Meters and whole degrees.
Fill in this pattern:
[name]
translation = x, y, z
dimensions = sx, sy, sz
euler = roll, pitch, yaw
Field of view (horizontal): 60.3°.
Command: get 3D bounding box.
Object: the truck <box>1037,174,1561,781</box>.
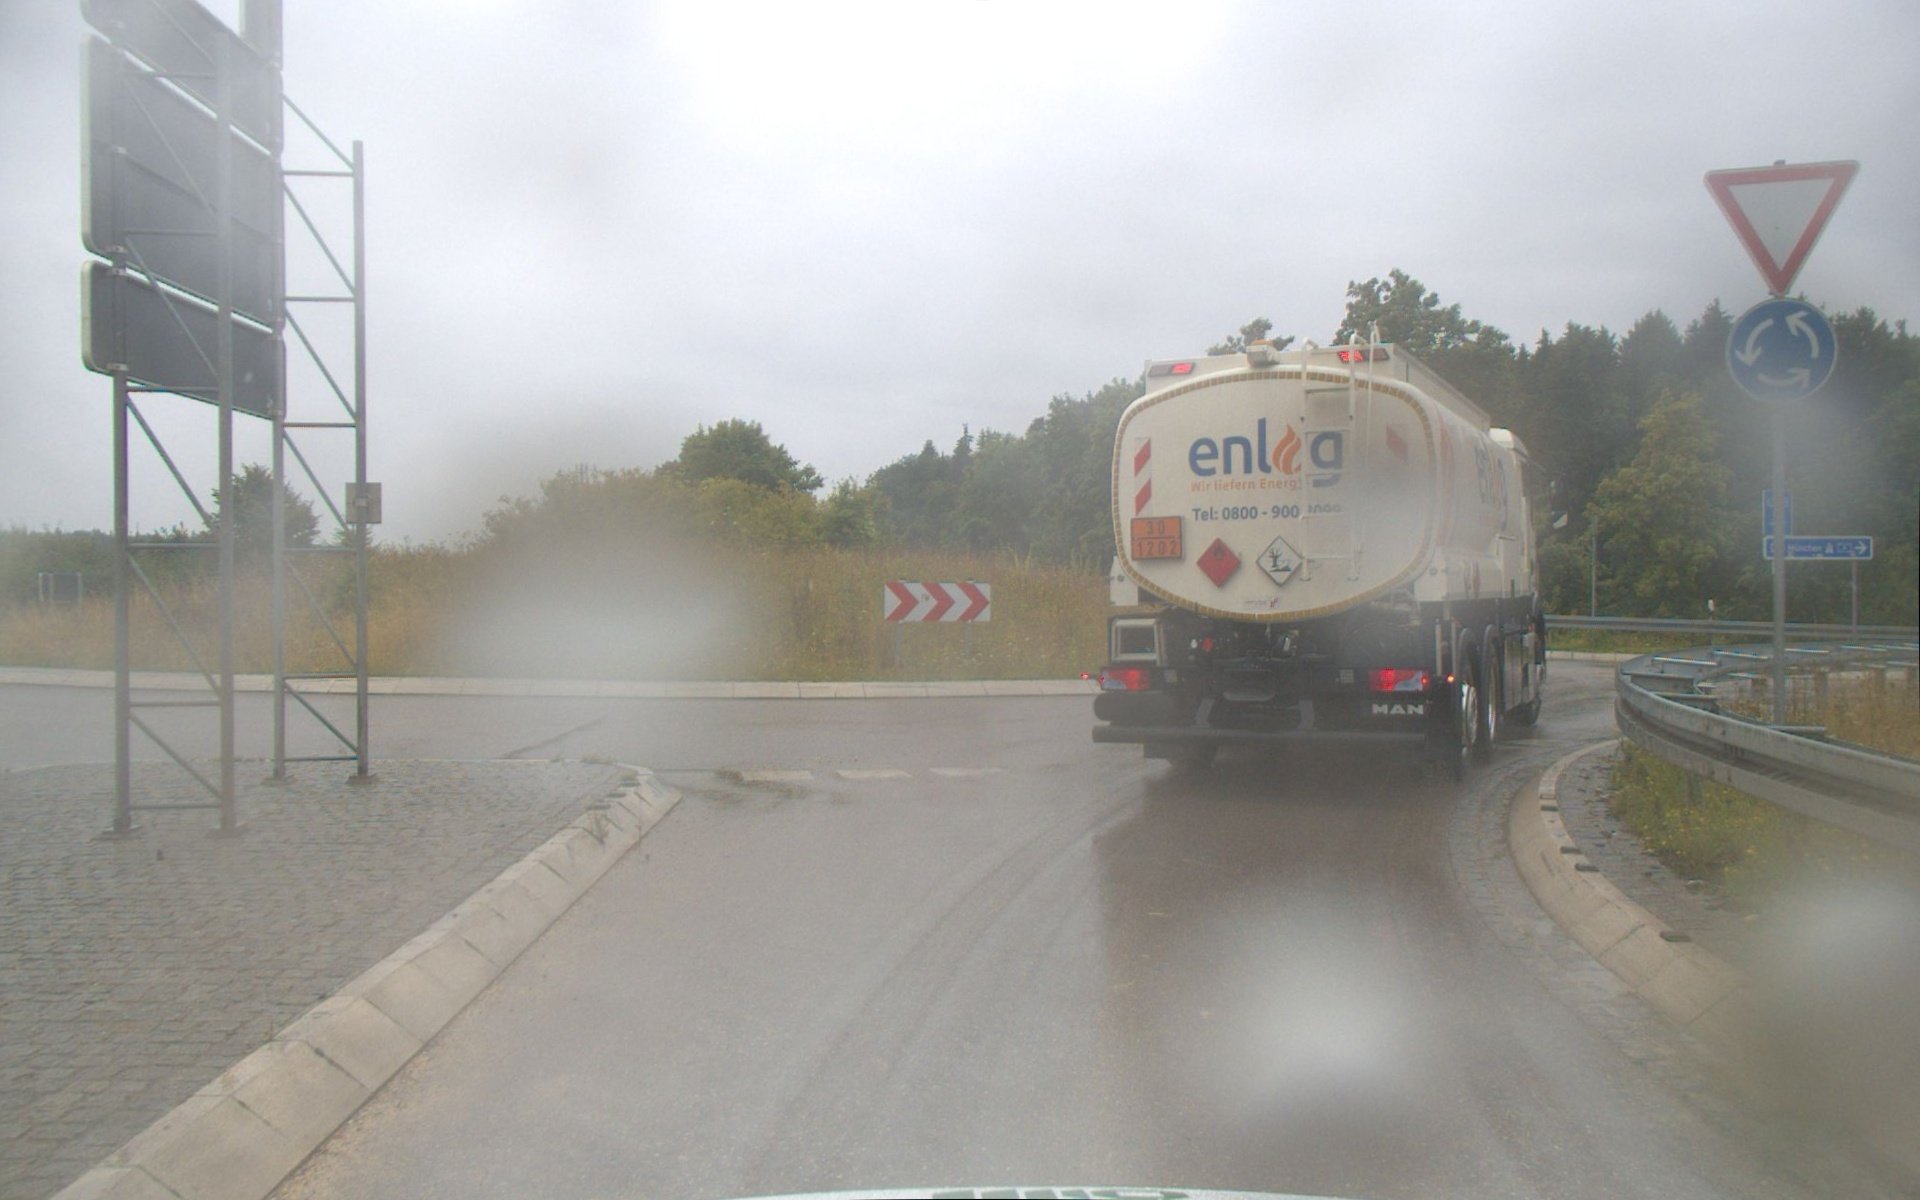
[truck]
translation = 3.685, -0.794, 15.325
dimensions = 2.978, 3.919, 8.818
euler = 1, 0, 23
